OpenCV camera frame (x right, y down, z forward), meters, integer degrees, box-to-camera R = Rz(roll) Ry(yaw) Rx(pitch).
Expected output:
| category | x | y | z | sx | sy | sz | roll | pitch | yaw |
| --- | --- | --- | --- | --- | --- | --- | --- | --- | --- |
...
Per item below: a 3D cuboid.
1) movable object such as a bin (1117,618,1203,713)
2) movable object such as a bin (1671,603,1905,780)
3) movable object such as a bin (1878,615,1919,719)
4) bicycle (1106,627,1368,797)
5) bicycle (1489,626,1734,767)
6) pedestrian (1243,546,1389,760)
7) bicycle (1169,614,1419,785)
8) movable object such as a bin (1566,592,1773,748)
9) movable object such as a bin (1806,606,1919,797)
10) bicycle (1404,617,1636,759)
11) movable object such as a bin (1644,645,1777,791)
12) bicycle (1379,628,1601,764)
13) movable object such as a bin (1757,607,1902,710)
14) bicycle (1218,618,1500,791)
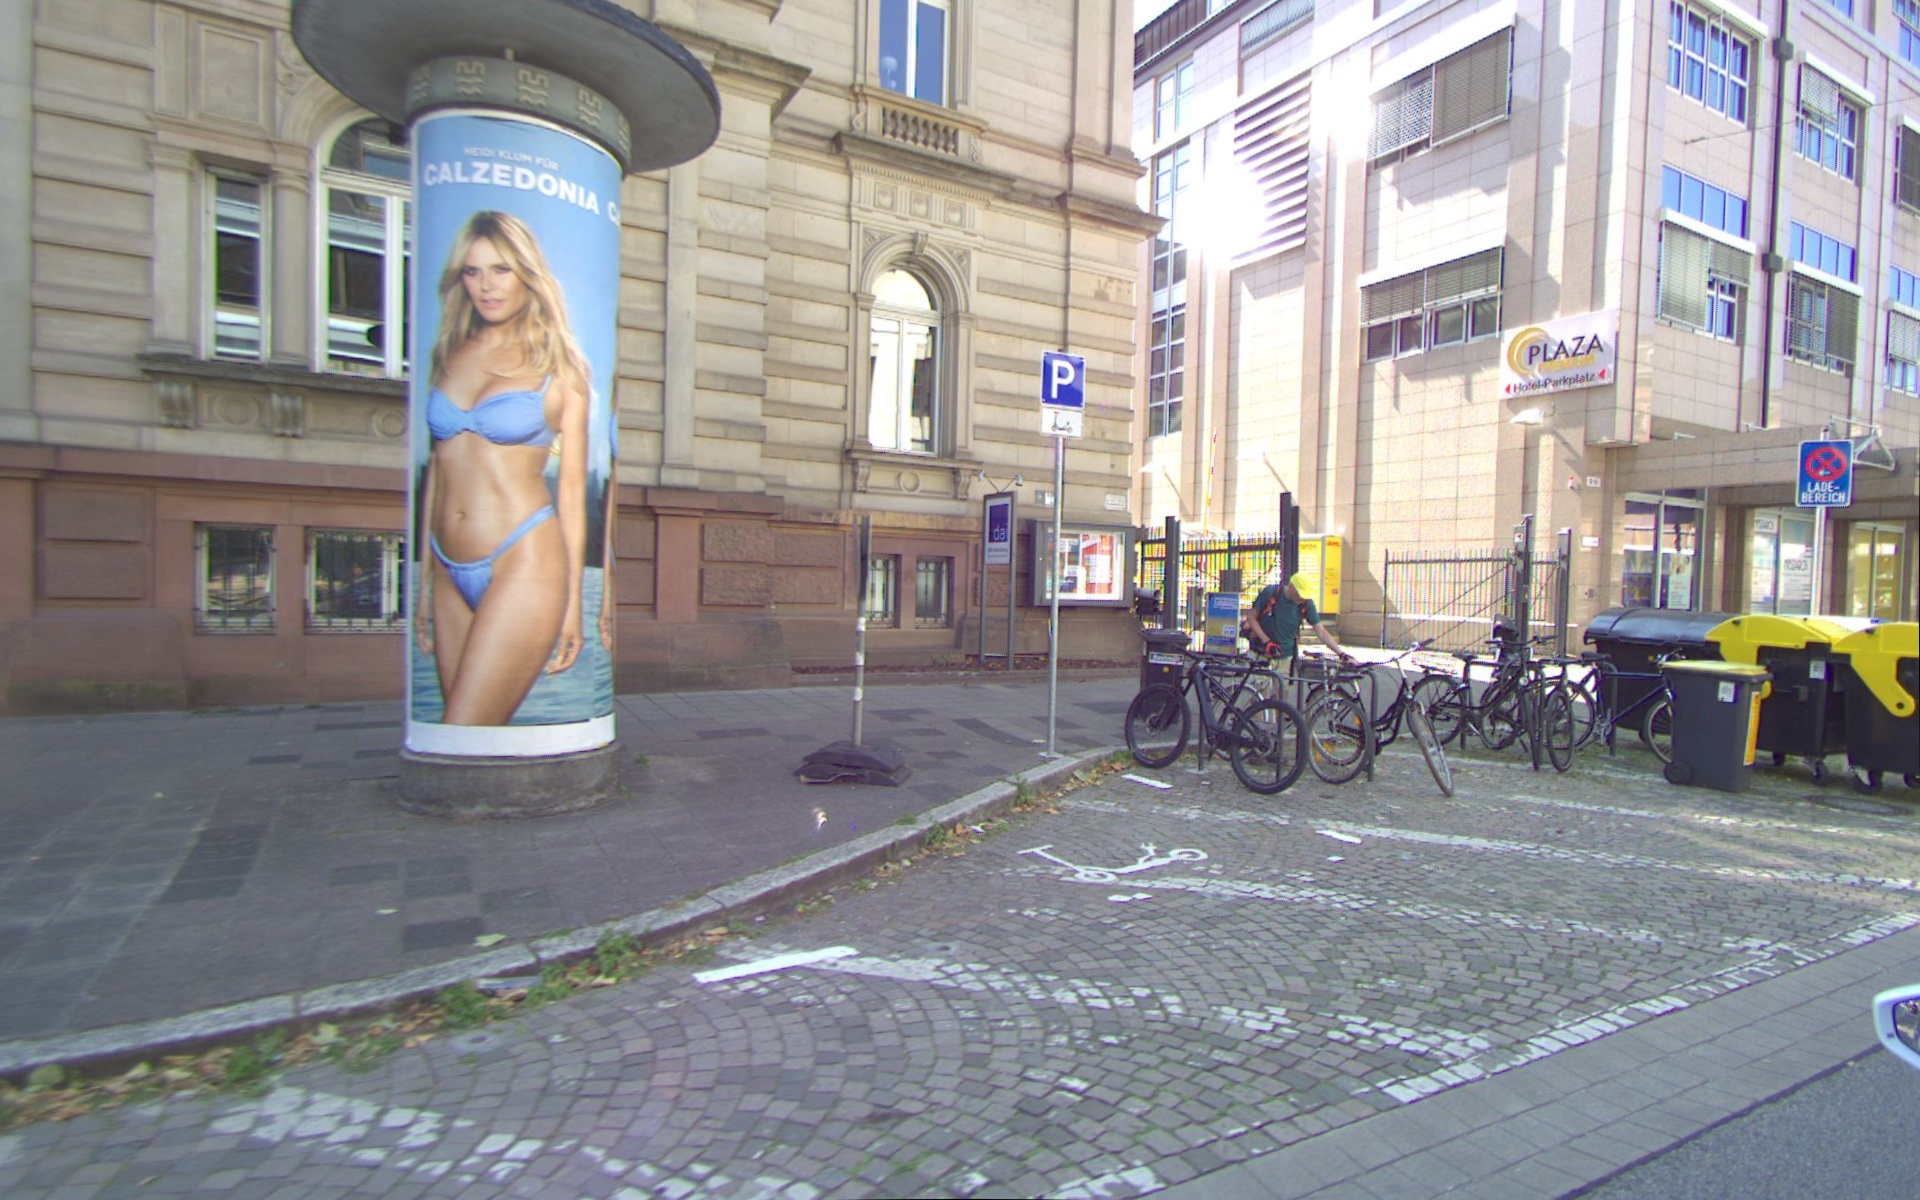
| category | x | y | z | sx | sy | sz | roll | pitch | yaw |
| --- | --- | --- | --- | --- | --- | --- | --- | --- | --- |
| movable object such as a bin | 2.016 | 0.650 | 10.153 | 0.506 | 0.888 | 0.650 | 2 | 1 | -37 |
| movable object such as a bin | 7.808 | 0.799 | 9.510 | 1.418 | 1.470 | 1.121 | 0 | 4 | -23 |
| movable object such as a bin | 13.067 | 0.904 | 13.161 | 1.066 | 1.317 | 1.203 | -1 | 4 | -29 |
| bicycle | 2.148 | 0.820 | 8.053 | 0.665 | 1.031 | 1.946 | 1 | 3 | -40 |
| bicycle | 6.372 | 0.893 | 9.955 | 0.503 | 1.135 | 1.956 | 2 | 2 | -32 |
| pedestrian | 3.096 | 0.425 | 8.767 | 0.741 | 1.748 | 0.883 | 1 | 2 | -36 |
| bicycle | 2.740 | 0.767 | 8.462 | 0.552 | 1.135 | 1.943 | 1 | 3 | -40 |
| movable object such as a bin | 7.472 | 0.678 | 10.628 | 1.344 | 1.470 | 1.206 | 0 | 4 | -23 |
| movable object such as a bin | 8.246 | 0.823 | 8.472 | 1.418 | 1.470 | 1.121 | 0 | 4 | -23 |
| bicycle | 5.527 | 0.821 | 10.058 | 0.503 | 1.135 | 1.963 | 2 | 3 | -32 |
| movable object such as a bin | 6.519 | 0.991 | 8.737 | 0.650 | 1.113 | 0.717 | -1 | 4 | -36 |
| bicycle | 5.046 | 0.870 | 9.701 | 0.550 | 1.087 | 1.833 | 2 | 1 | -32 |
| movable object such as a bin | 12.446 | 0.804 | 14.404 | 1.113 | 1.317 | 1.203 | 0 | 4 | -29 |
| bicycle | 3.352 | 0.821 | 8.689 | 0.552 | 1.135 | 2.217 | 1 | 3 | -40 |
